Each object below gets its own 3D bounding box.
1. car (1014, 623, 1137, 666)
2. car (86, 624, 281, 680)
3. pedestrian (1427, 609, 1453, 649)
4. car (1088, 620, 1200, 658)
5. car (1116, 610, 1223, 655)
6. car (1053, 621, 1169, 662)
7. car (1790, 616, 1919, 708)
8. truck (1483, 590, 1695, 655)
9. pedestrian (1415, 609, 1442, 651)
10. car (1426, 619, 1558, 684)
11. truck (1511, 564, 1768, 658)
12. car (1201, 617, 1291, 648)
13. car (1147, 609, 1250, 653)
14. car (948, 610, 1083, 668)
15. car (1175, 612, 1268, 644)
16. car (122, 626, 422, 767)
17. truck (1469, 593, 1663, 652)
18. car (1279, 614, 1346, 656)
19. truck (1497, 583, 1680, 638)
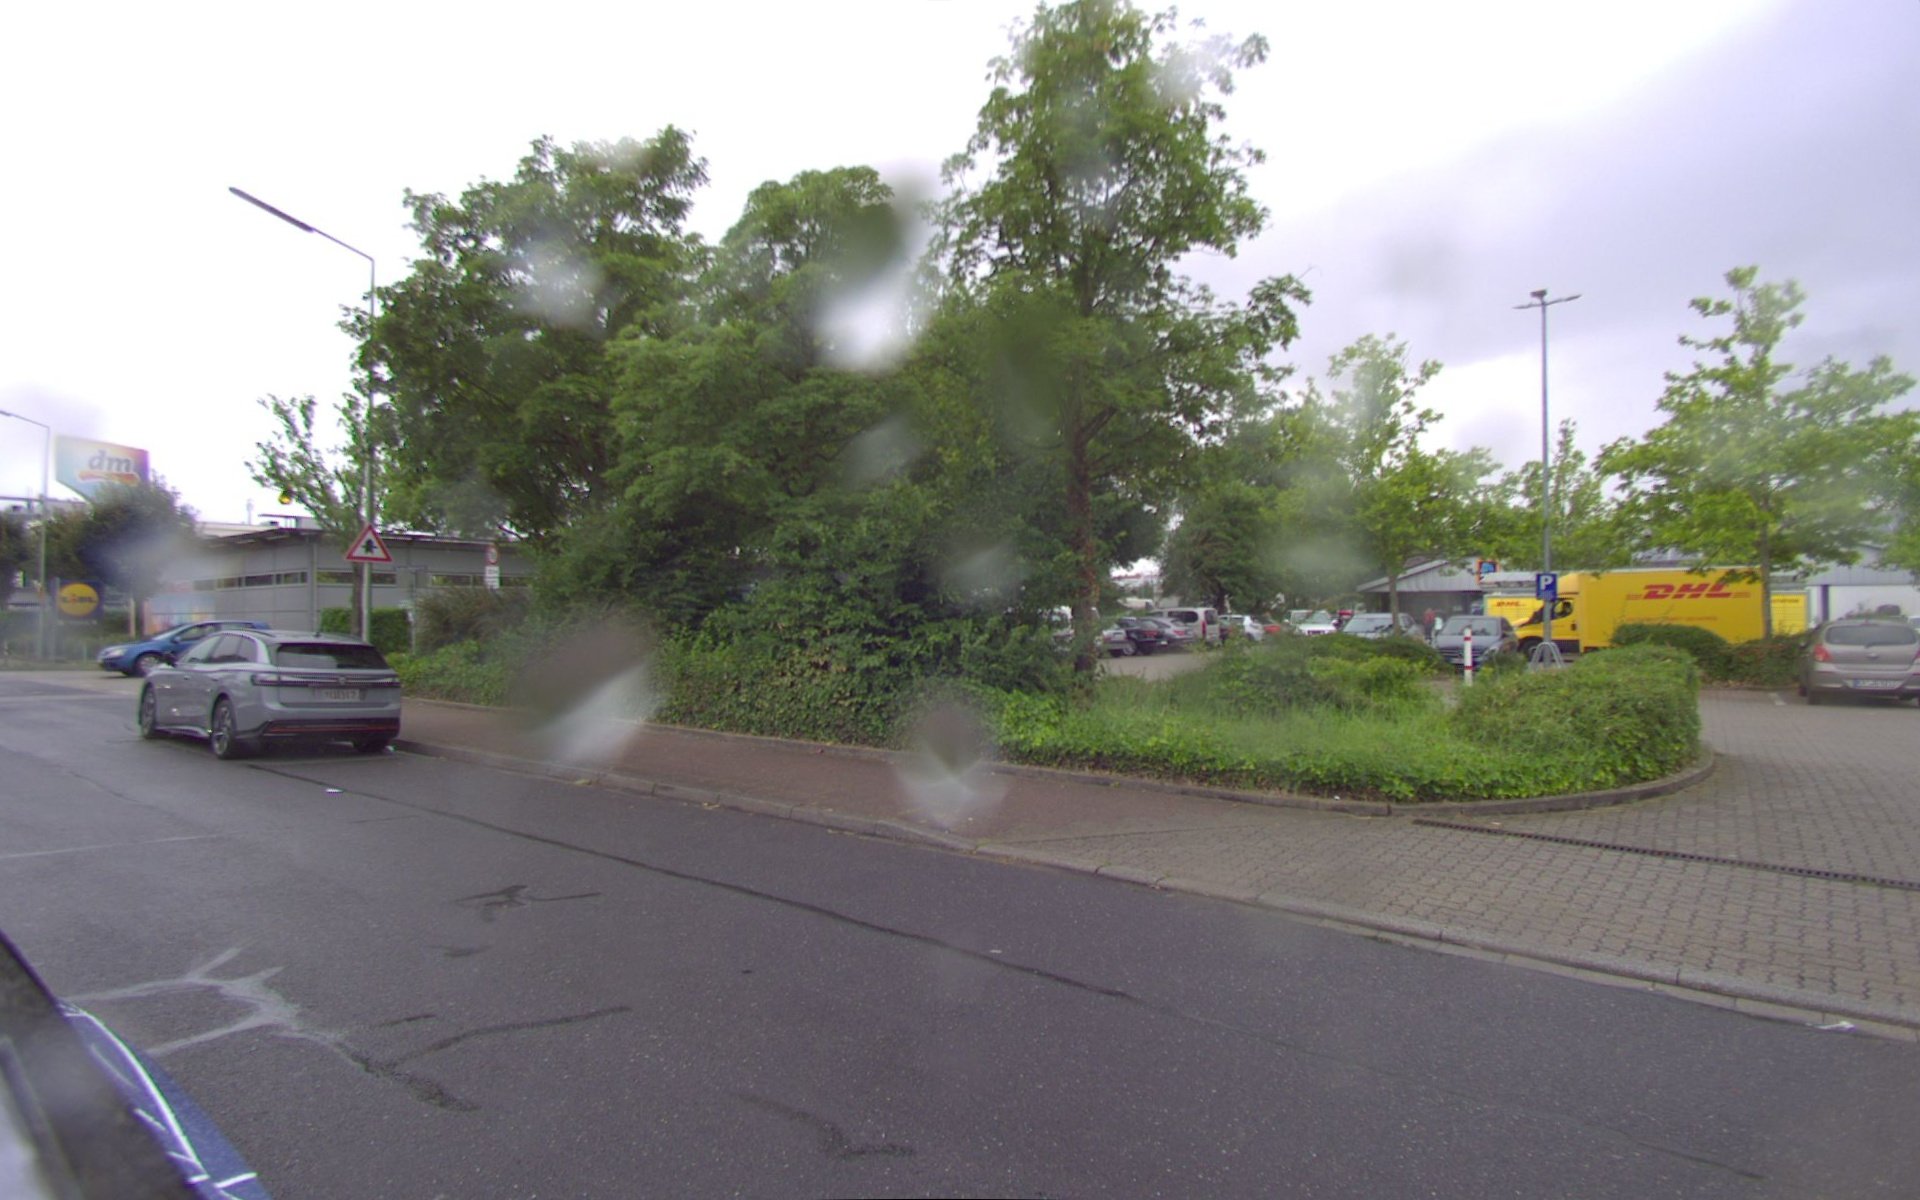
[{"bbox_3d":[4.194,1.583,36.844,3.987,1.497,1.978,-1,-2,32],"label":"car"},{"bbox_3d":[-21.410,1.408,28.042,1.733,1.452,3.949,-2,-3,37],"label":"car"},{"bbox_3d":[24.369,1.454,51.332,0.910,1.977,1.291,-1,-2,38],"label":"pedestrian"},{"bbox_3d":[7.392,1.547,40.705,3.987,1.431,1.978,-1,-2,32],"label":"car"},{"bbox_3d":[8.791,1.346,42.548,3.987,1.829,1.978,-1,-2,32],"label":"car"},{"bbox_3d":[5.794,1.582,38.977,3.987,1.497,1.978,-1,-2,32],"label":"car"},{"bbox_3d":[16.234,1.049,18.177,1.708,1.471,4.153,-1,-2,35],"label":"car"},{"bbox_3d":[21.869,0.789,35.379,6.122,2.110,1.976,-1,-2,36],"label":"truck"},{"bbox_3d":[22.617,1.455,48.860,0.910,1.977,1.291,-1,-2,38],"label":"pedestrian"},{"bbox_3d":[13.082,1.206,24.801,1.999,1.431,3.945,-2,-2,41],"label":"car"},{"bbox_3d":[20.729,0.372,31.122,6.391,2.621,1.973,-1,-2,40],"label":"truck"},{"bbox_3d":[14.473,1.646,51.224,3.987,1.497,1.978,-1,-2,32],"label":"car"},{"bbox_3d":[10.478,1.355,44.451,3.987,1.829,1.978,-1,-2,32],"label":"car"},{"bbox_3d":[1.816,1.269,33.385,3.987,1.807,1.978,-1,-2,32],"label":"car"},{"bbox_3d":[12.662,1.360,49.090,3.987,1.497,1.978,-1,-2,32],"label":"car"},{"bbox_3d":[-9.162,1.176,13.333,4.740,1.540,1.792,-1,-5,38],"label":"car"},{"bbox_3d":[22.768,0.858,38.192,6.122,2.076,1.976,-1,-2,36],"label":"truck"},{"bbox_3d":[13.751,1.355,39.703,2.007,1.562,4.275,-1,-1,13],"label":"car"},{"bbox_3d":[25.103,0.457,40.574,6.122,2.076,1.976,-1,-2,36],"label":"truck"}]
